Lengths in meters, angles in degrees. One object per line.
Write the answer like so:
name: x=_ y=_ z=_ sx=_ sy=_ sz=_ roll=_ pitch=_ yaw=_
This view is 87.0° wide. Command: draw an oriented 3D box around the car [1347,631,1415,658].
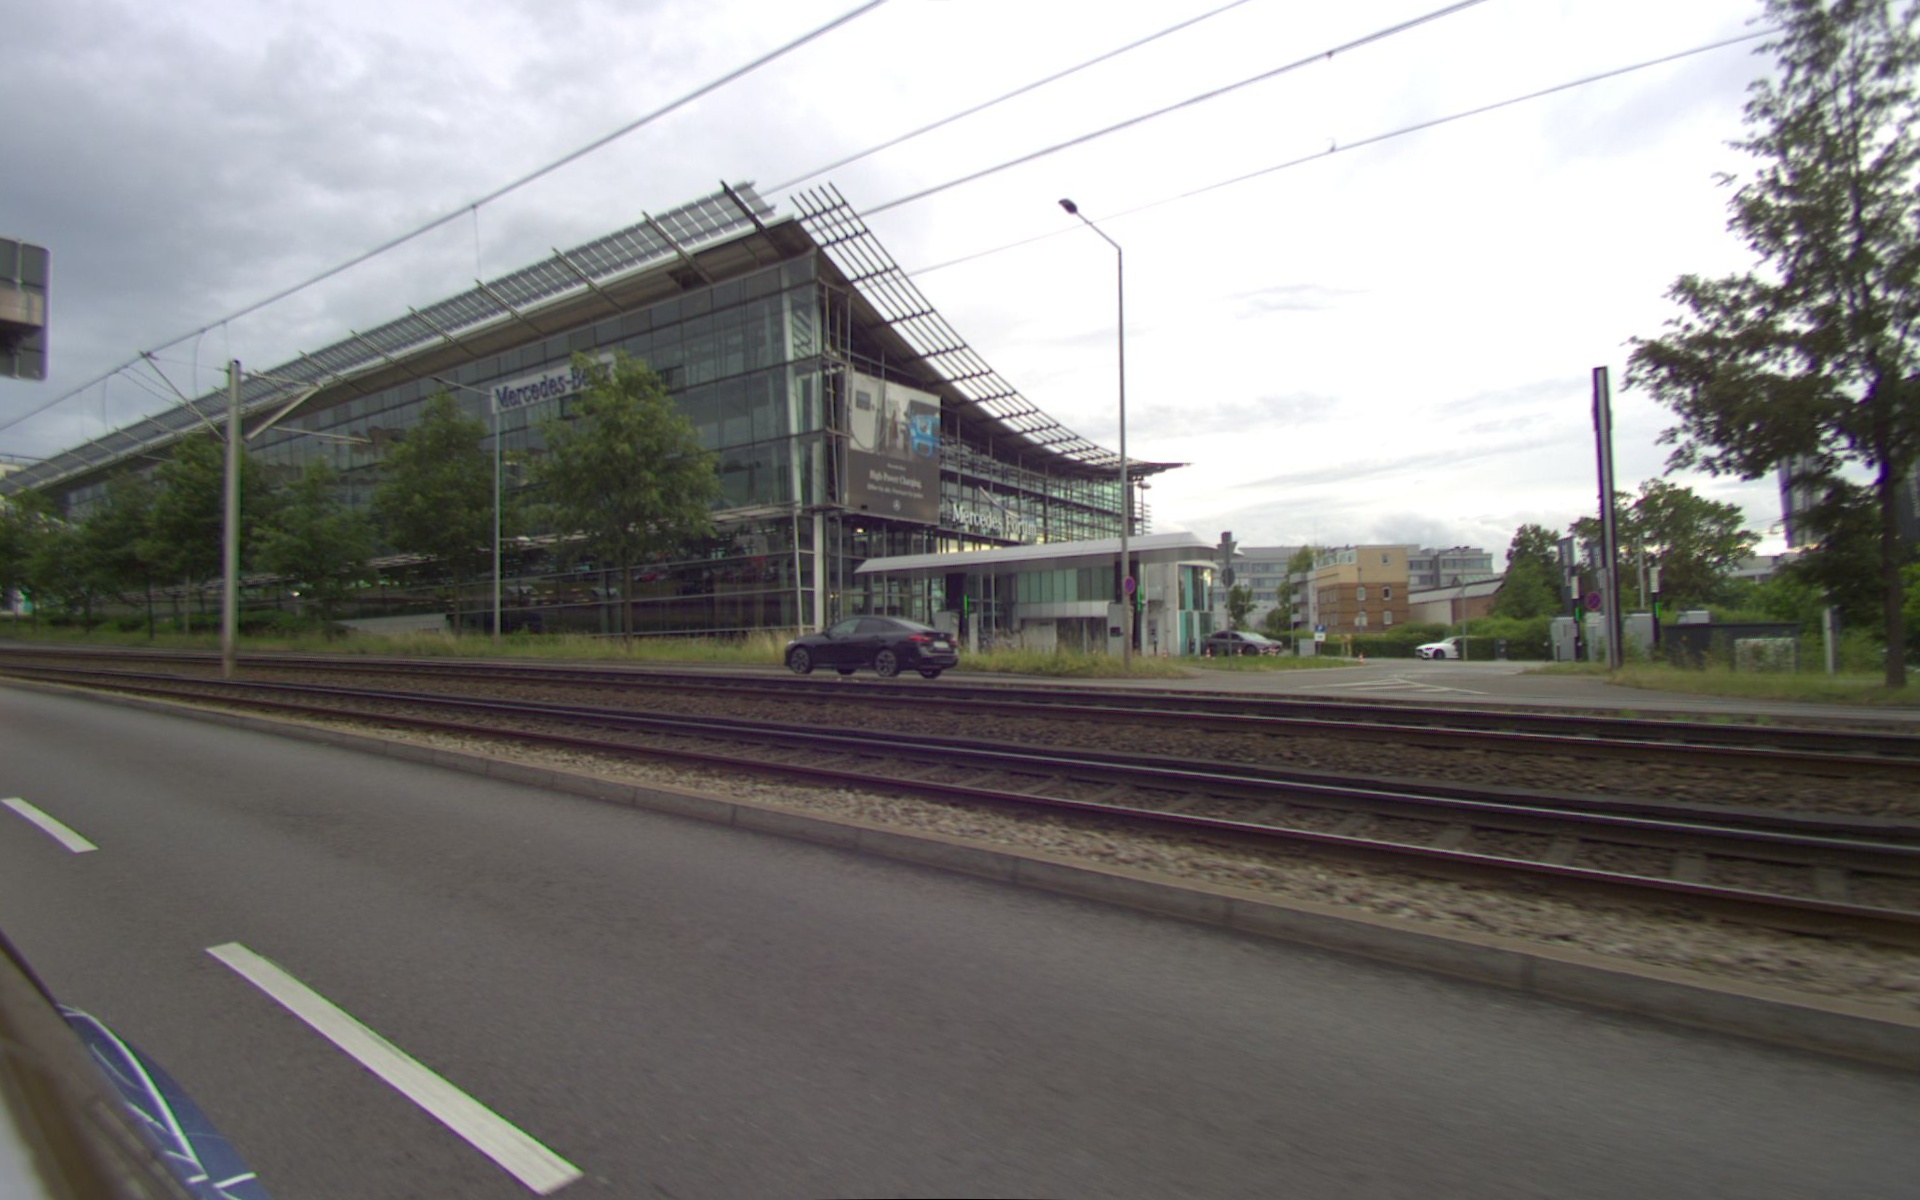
car: x=29.303 y=3.103 z=70.594 sx=3.951 sy=1.741 sz=1.996 roll=0 pitch=1 yaw=6

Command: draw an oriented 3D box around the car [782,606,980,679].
car: x=-1.871 y=0.997 z=23.393 sx=4.394 sy=1.532 sz=1.866 roll=-1 pitch=-5 yaw=36

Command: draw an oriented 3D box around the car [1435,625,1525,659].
car: x=29.059 y=2.338 z=56.649 sx=3.951 sy=1.741 sz=1.996 roll=0 pitch=1 yaw=6

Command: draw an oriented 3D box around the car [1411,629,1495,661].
car: x=28.806 y=2.630 z=59.261 sx=3.951 sy=1.741 sz=1.996 roll=0 pitch=1 yaw=6

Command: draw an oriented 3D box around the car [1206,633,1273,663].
car: x=17.715 y=3.024 z=64.258 sx=1.756 sy=1.723 sz=3.751 roll=0 pitch=0 yaw=-45
